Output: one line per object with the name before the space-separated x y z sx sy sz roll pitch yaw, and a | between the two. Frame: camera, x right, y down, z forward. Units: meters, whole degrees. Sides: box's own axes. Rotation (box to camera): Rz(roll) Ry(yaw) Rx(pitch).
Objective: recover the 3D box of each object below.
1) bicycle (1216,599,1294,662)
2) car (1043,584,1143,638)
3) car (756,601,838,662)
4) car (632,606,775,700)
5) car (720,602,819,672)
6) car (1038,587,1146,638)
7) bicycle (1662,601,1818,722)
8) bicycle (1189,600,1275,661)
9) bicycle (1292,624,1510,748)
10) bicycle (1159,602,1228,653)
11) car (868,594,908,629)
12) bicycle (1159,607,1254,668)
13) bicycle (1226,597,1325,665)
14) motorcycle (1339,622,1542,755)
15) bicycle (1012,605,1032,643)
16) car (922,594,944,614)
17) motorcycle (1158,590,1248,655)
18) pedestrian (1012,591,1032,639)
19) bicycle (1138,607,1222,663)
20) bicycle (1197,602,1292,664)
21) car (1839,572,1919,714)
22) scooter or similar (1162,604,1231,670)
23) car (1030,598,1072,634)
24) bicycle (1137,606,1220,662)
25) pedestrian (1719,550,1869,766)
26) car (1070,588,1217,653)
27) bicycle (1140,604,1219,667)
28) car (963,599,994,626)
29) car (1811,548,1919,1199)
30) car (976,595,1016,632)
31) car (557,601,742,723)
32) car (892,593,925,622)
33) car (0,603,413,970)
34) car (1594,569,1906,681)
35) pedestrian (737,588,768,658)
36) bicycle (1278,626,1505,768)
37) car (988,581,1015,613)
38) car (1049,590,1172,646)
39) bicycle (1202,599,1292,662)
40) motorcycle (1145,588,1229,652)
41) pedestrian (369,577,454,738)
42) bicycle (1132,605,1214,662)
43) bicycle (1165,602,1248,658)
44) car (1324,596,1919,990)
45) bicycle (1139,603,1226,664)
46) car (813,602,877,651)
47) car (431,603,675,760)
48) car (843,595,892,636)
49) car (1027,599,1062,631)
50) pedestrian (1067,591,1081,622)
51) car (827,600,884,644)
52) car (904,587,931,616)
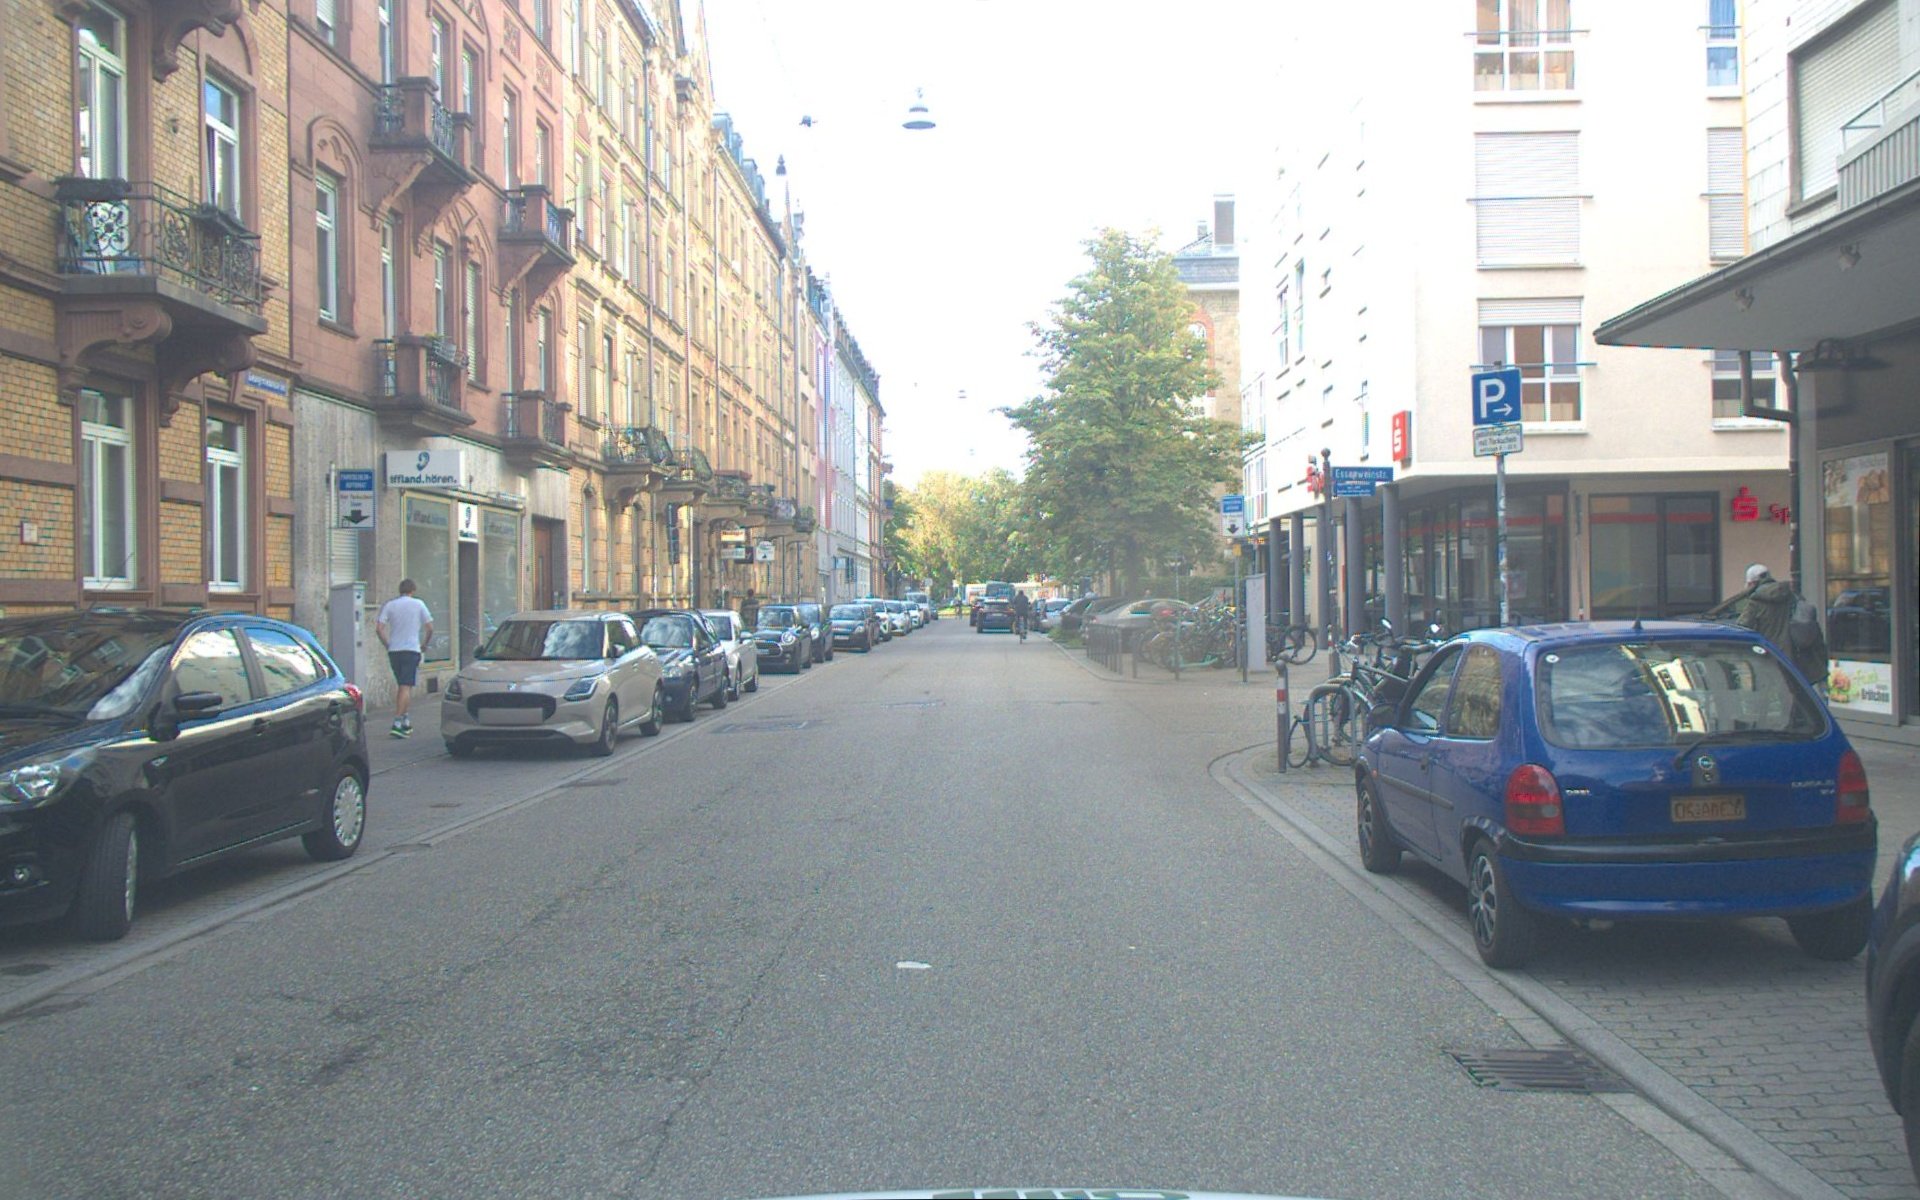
bicycle | 5.952 0.612 33.409 1.464 1.166 0.411 -3 0 1
car | 5.396 0.431 66.891 3.903 1.712 1.740 -3 8 5
car | -4.140 0.781 42.576 1.655 1.462 3.868 0 0 1
car | -4.202 0.824 27.617 1.655 1.411 3.868 0 0 2
car | -4.118 0.777 36.298 1.655 1.411 3.868 0 0 1
car | 4.955 0.461 61.826 3.903 1.668 2.001 -3 0 6
bicycle | 8.275 0.632 17.632 0.523 1.212 1.930 -1 -1 -7
bicycle | 5.675 0.629 34.456 1.739 1.166 0.409 -3 0 -19
bicycle | 4.236 0.824 16.001 1.930 1.114 0.685 -3 -1 44
bicycle | 5.955 0.701 42.202 1.629 1.179 0.557 -3 0 3
car | -3.348 0.516 77.200 1.655 1.577 3.867 0 0 0
bicycle | 4.764 0.724 32.004 1.731 1.075 0.411 -3 0 -4
bicycle | 6.006 0.579 31.577 1.729 1.182 0.650 -3 0 3
motorcycle | 4.316 0.788 14.928 1.637 1.114 0.604 -3 -1 44
bicycle | 2.173 0.827 57.975 0.703 1.296 1.884 0 0 2
car | -2.236 0.305 136.266 1.554 1.566 3.754 0 0 3
motorcycle | 5.992 0.542 40.857 2.105 1.459 0.766 -3 0 5
pedestrian | 2.175 0.517 58.062 0.703 1.679 0.930 0 0 2
bicycle | 4.763 0.758 35.903 1.728 1.118 0.411 -3 0 4
bicycle | 5.602 0.648 32.632 1.729 1.106 0.650 -3 0 3
car | 12.189 0.433 18.520 3.706 1.527 1.797 -1 -1 1
scooter or similar | 4.494 0.705 31.396 1.184 1.167 0.378 -3 1 33
car | 4.317 0.759 79.214 1.890 1.667 4.001 0 0 1
bicycle | 4.837 0.753 36.647 1.728 1.138 0.411 -3 0 4
pedestrian | 6.485 0.440 12.901 0.806 1.616 0.781 -2 0 9
car | 5.098 0.572 46.070 3.691 1.573 1.727 -3 -1 -9
bicycle | 4.420 0.712 33.312 1.466 1.166 0.411 -3 0 -4
car | 1.056 0.691 95.955 1.760 1.497 3.888 0 0 0
car | 3.117 0.648 2.447 1.654 1.605 3.902 -2 0 0
car | 1.753 0.670 81.002 1.924 1.771 4.041 0 -1 1
car | -4.241 0.794 23.205 1.705 1.509 3.985 0 0 2
car | -2.856 0.418 92.593 1.655 1.577 3.867 0 0 0
car | -4.547 0.783 8.836 1.705 1.509 3.985 0 -1 3
car | 12.895 0.384 27.197 4.271 1.658 1.809 -1 2 2
pedestrian | -5.628 0.617 44.942 0.674 1.886 0.932 0 0 3
bicycle | 3.667 0.813 14.136 1.740 1.114 0.679 -3 -1 44
car | 2.726 -0.190 109.349 1.745 2.055 3.888 0 0 0
car | 4.995 0.592 54.666 3.903 1.611 2.001 -3 0 6
bicycle | 5.884 0.622 33.950 1.731 1.166 0.411 -3 0 -5
motorcycle | 6.010 0.535 43.900 2.105 1.557 0.686 -3 0 5
pedestrian | -6.425 0.656 19.392 0.717 1.821 0.771 2 0 -6
bicycle | 4.826 0.747 37.581 1.757 1.179 0.500 -3 0 4
bicycle | 5.652 0.687 37.973 1.759 1.179 0.500 -3 0 27
car | 3.019 0.744 8.403 1.562 1.464 4.031 -2 0 2
bicycle | 4.648 0.694 34.542 1.739 1.166 0.409 -3 0 -19
car | -3.622 0.814 52.621 1.655 1.393 3.868 3 0 1
car | -4.403 0.816 18.487 1.706 1.509 3.984 0 0 1
car | -3.604 0.589 65.191 1.655 1.577 3.868 0 0 1
car | 4.256 0.760 83.699 1.655 1.577 3.689 0 0 2
pedestrian | 8.357 0.478 121.600 0.975 2.269 0.899 0 0 2
car | -3.667 0.764 58.536 1.655 1.393 3.868 3 0 1
car | -2.784 0.088 108.899 1.655 1.853 3.867 0 0 0
